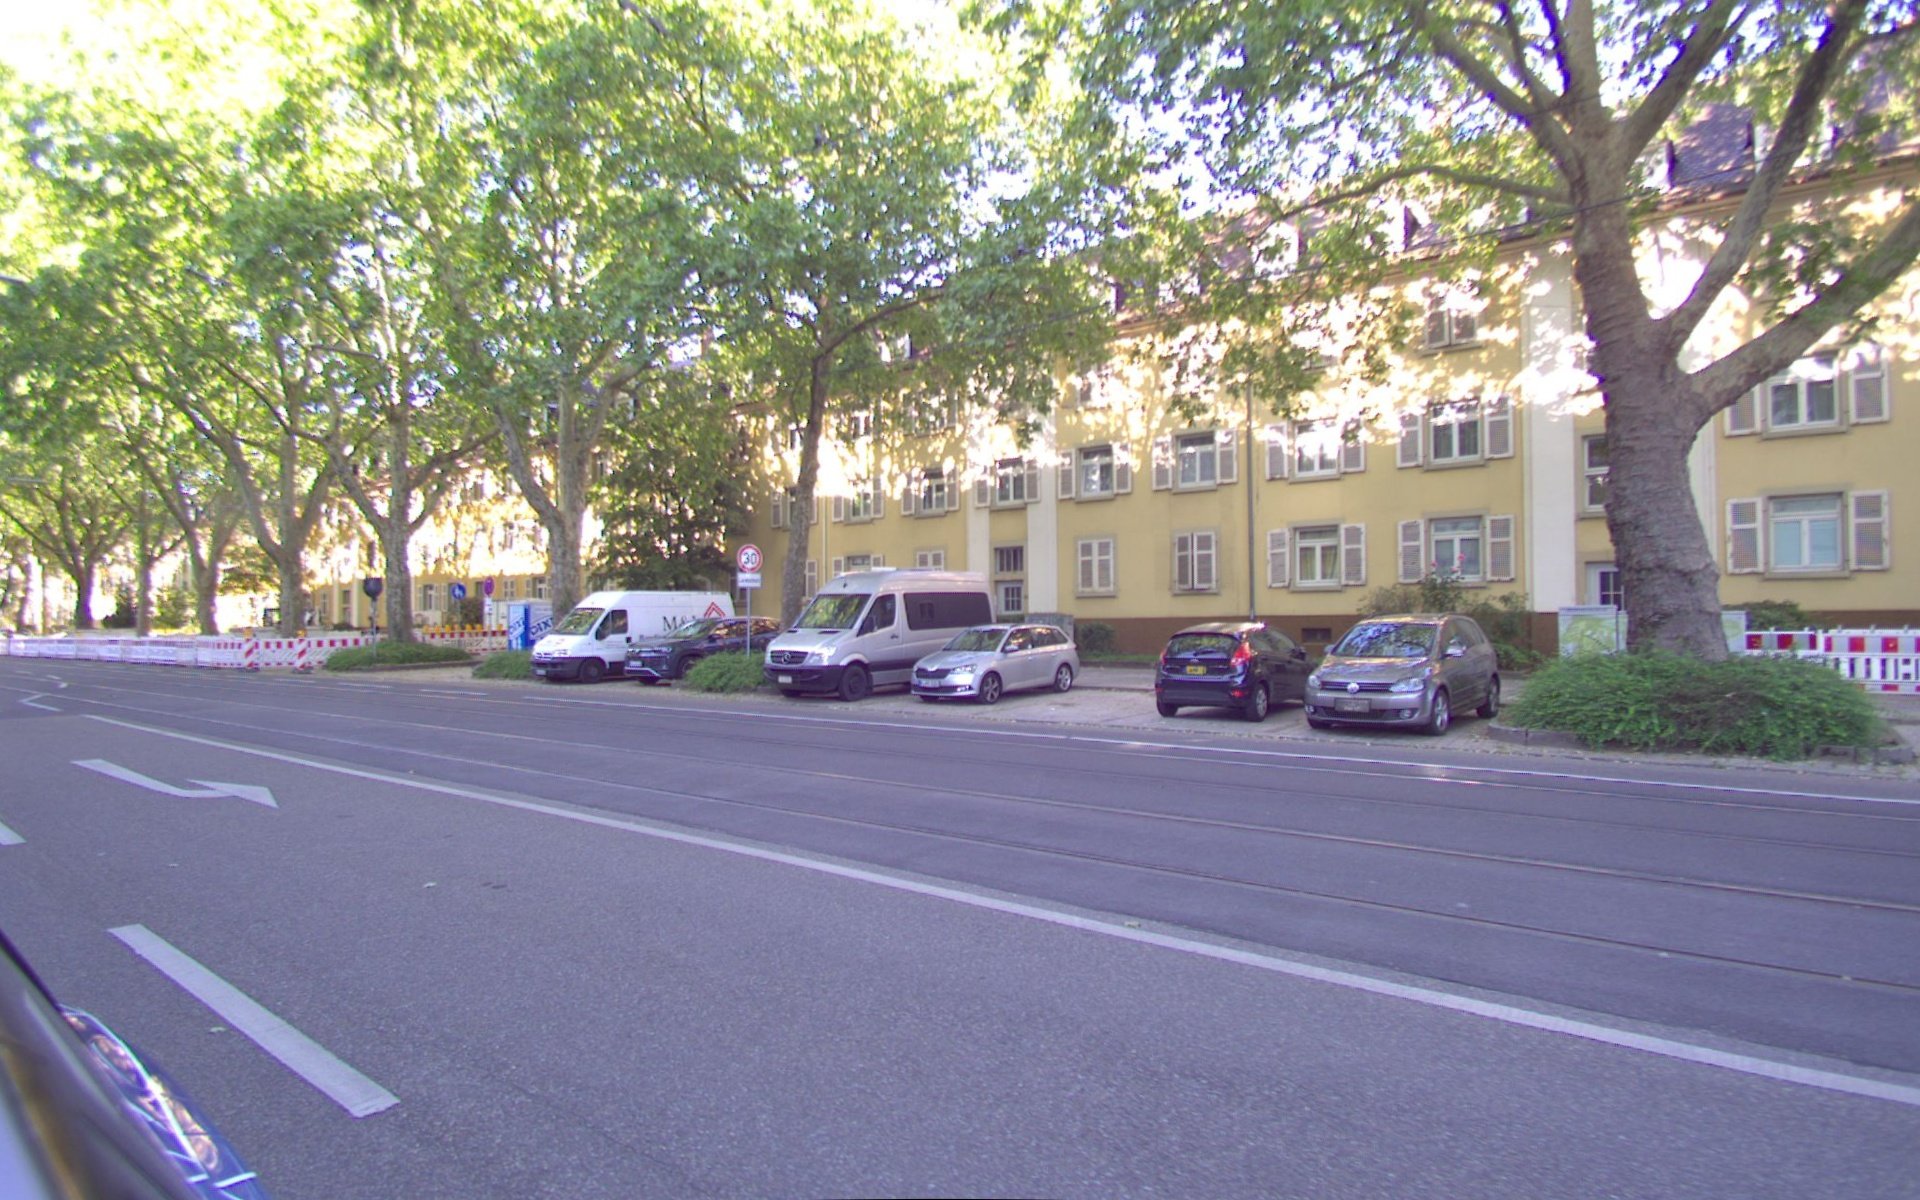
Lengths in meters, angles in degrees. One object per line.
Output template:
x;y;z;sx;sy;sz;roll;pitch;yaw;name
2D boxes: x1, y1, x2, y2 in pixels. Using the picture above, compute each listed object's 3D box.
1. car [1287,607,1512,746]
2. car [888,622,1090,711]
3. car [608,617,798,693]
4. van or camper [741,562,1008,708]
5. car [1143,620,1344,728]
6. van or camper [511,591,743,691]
6.374;0.949;14.438;1.843;1.631;4.028;-1;0;41;car
0.673;1.207;19.860;1.693;1.457;4.221;-1;0;41;car
-6.335;1.283;25.370;1.693;1.645;4.482;-1;0;41;car
-1.605;0.629;21.405;2.154;2.668;5.857;-1;0;39;van or camper
4.706;1.097;16.487;1.693;1.457;3.812;-1;0;41;car
-8.834;0.978;27.344;2.154;2.403;5.691;-1;0;39;van or camper
